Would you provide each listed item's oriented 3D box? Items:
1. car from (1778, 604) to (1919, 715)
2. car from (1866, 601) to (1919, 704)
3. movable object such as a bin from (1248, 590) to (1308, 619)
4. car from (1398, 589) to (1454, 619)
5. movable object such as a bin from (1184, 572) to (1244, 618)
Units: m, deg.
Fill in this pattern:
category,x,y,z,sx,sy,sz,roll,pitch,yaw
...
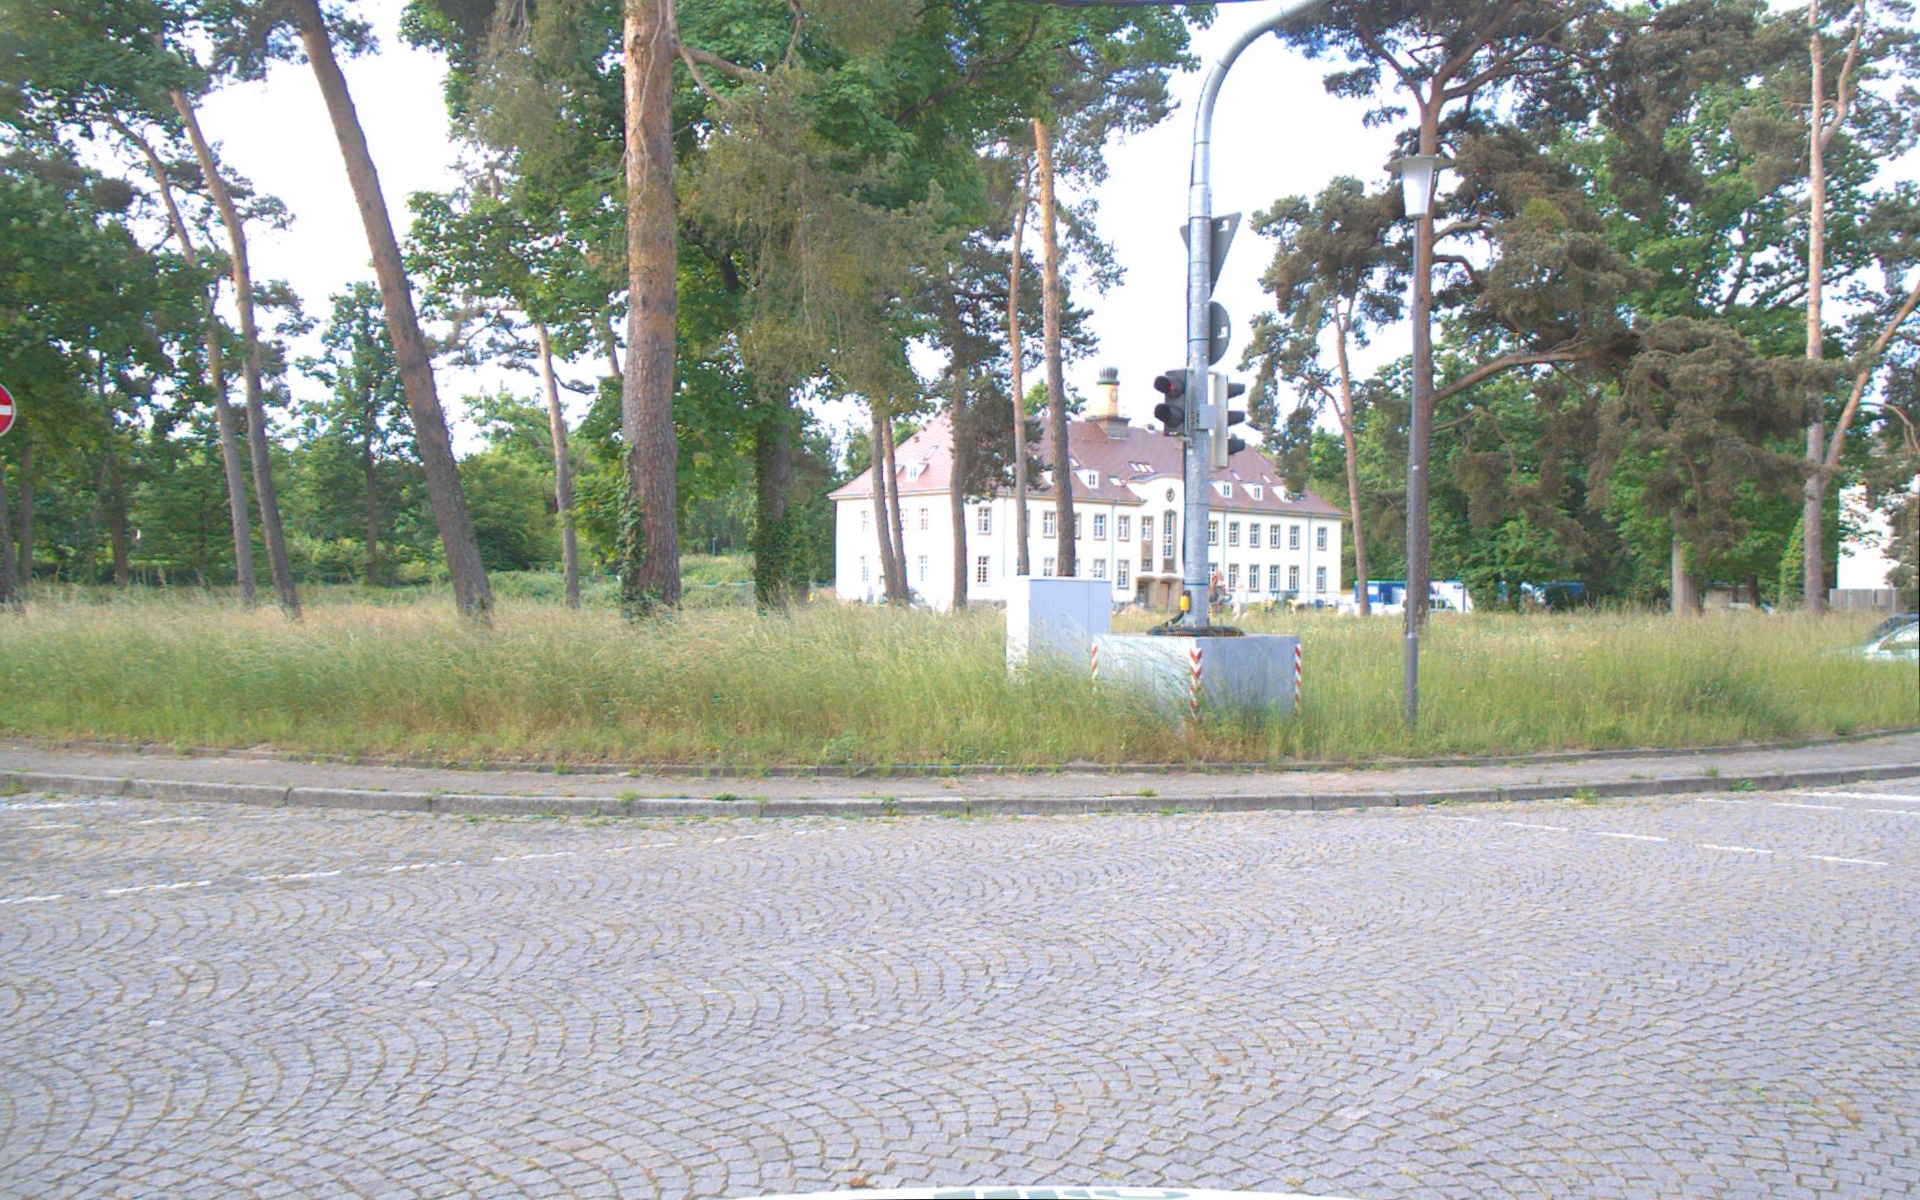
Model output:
category,x,y,z,sx,sy,sz,roll,pitch,yaw
car,14.117,0.859,23.321,1.808,1.496,4.284,1,0,-38
car,16.302,0.852,24.759,1.855,1.564,4.446,1,0,-43
movable object such as a bin,26.211,0.380,136.411,2.352,2.293,4.467,2,-1,-35
car,34.842,0.326,123.657,4.305,2.132,2.038,3,-2,-41
movable object such as a bin,21.458,-0.415,139.947,2.105,3.705,6.093,2,-1,-22
